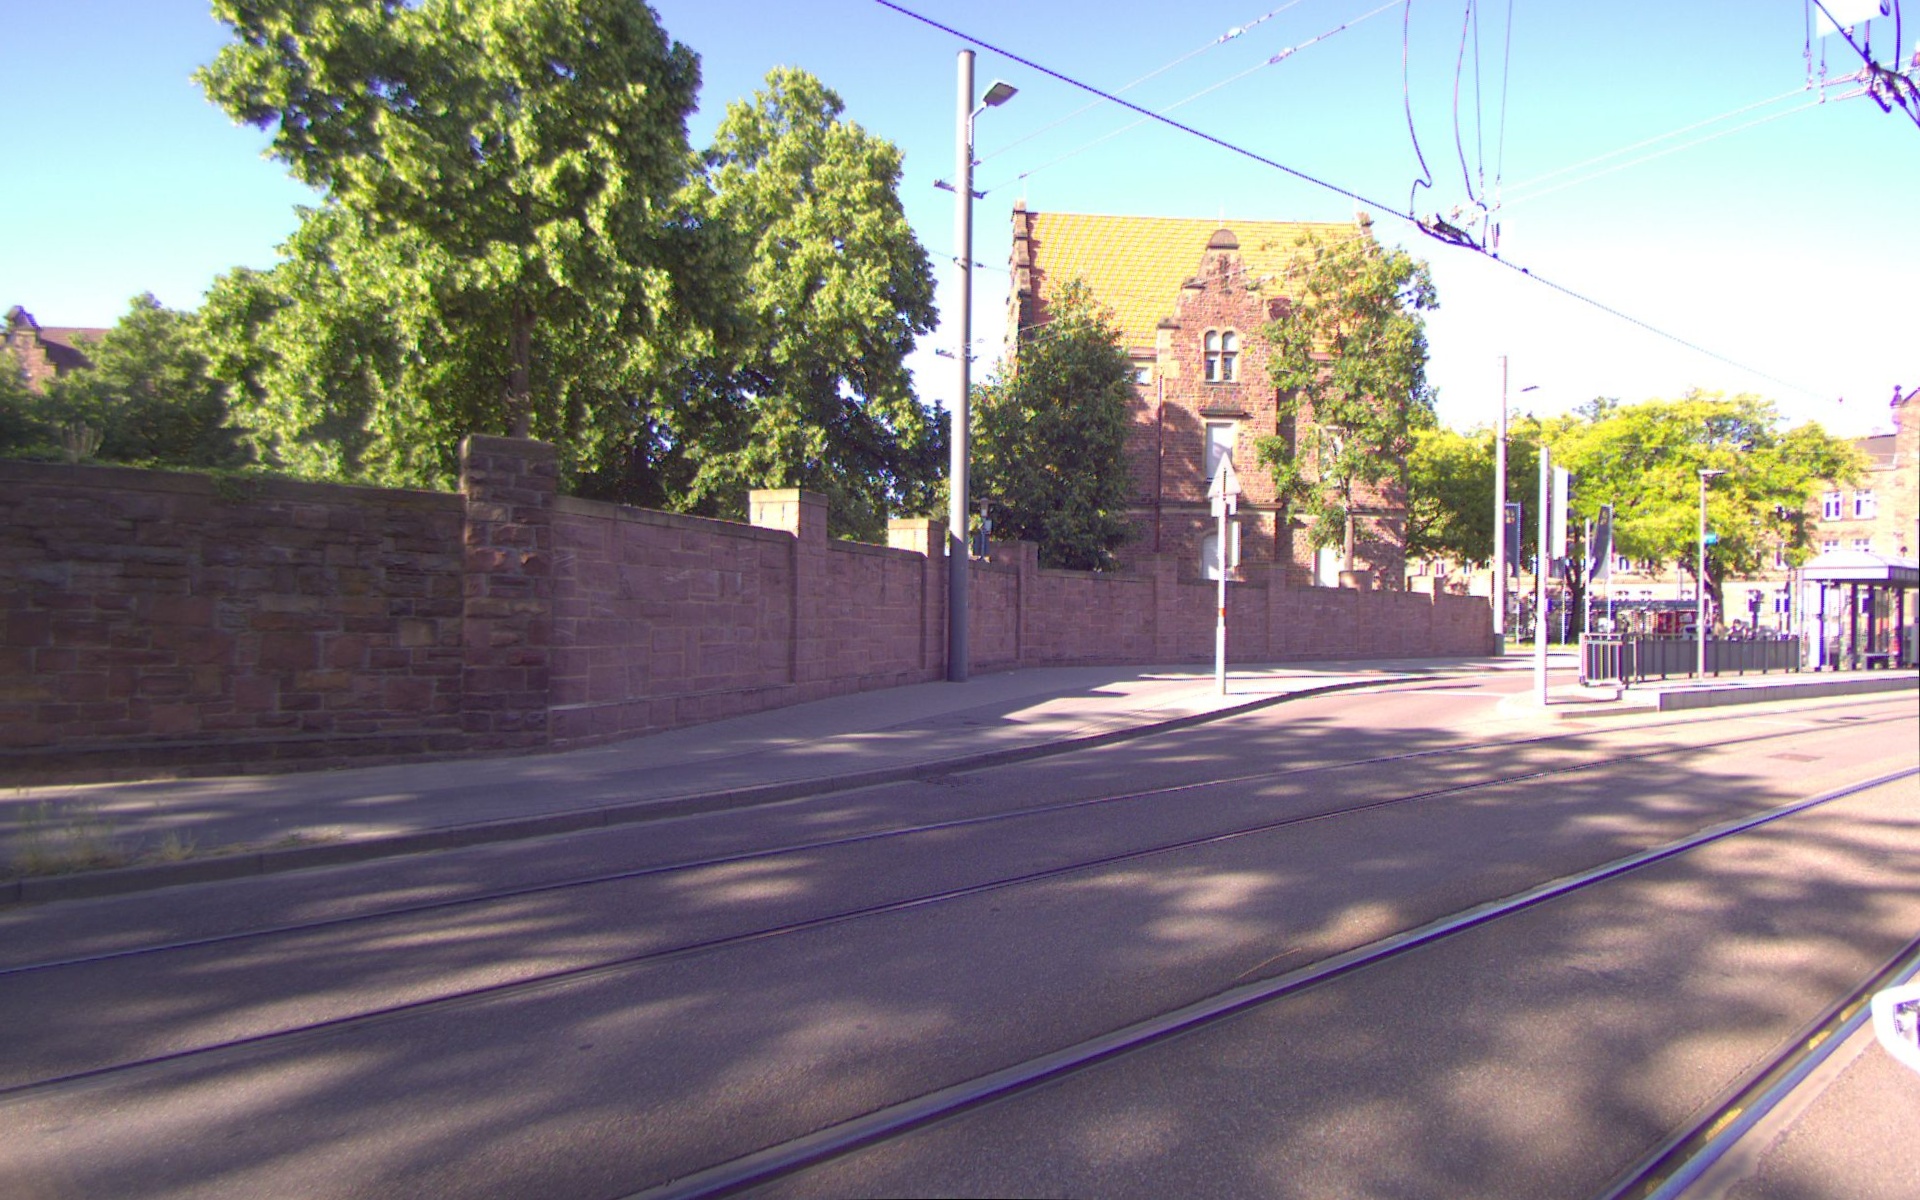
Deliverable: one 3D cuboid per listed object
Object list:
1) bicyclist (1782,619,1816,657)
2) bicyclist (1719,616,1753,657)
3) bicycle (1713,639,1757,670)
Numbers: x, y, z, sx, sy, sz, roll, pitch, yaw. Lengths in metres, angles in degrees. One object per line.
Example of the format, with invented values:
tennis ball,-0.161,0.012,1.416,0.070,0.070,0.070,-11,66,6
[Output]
bicyclist,33.615,1.526,40.251,1.138,1.478,0.650,1,0,-28
bicyclist,28.402,1.334,36.761,1.140,1.478,0.648,1,0,-35
bicycle,28.374,1.980,36.747,2.042,1.103,0.680,1,0,-35
